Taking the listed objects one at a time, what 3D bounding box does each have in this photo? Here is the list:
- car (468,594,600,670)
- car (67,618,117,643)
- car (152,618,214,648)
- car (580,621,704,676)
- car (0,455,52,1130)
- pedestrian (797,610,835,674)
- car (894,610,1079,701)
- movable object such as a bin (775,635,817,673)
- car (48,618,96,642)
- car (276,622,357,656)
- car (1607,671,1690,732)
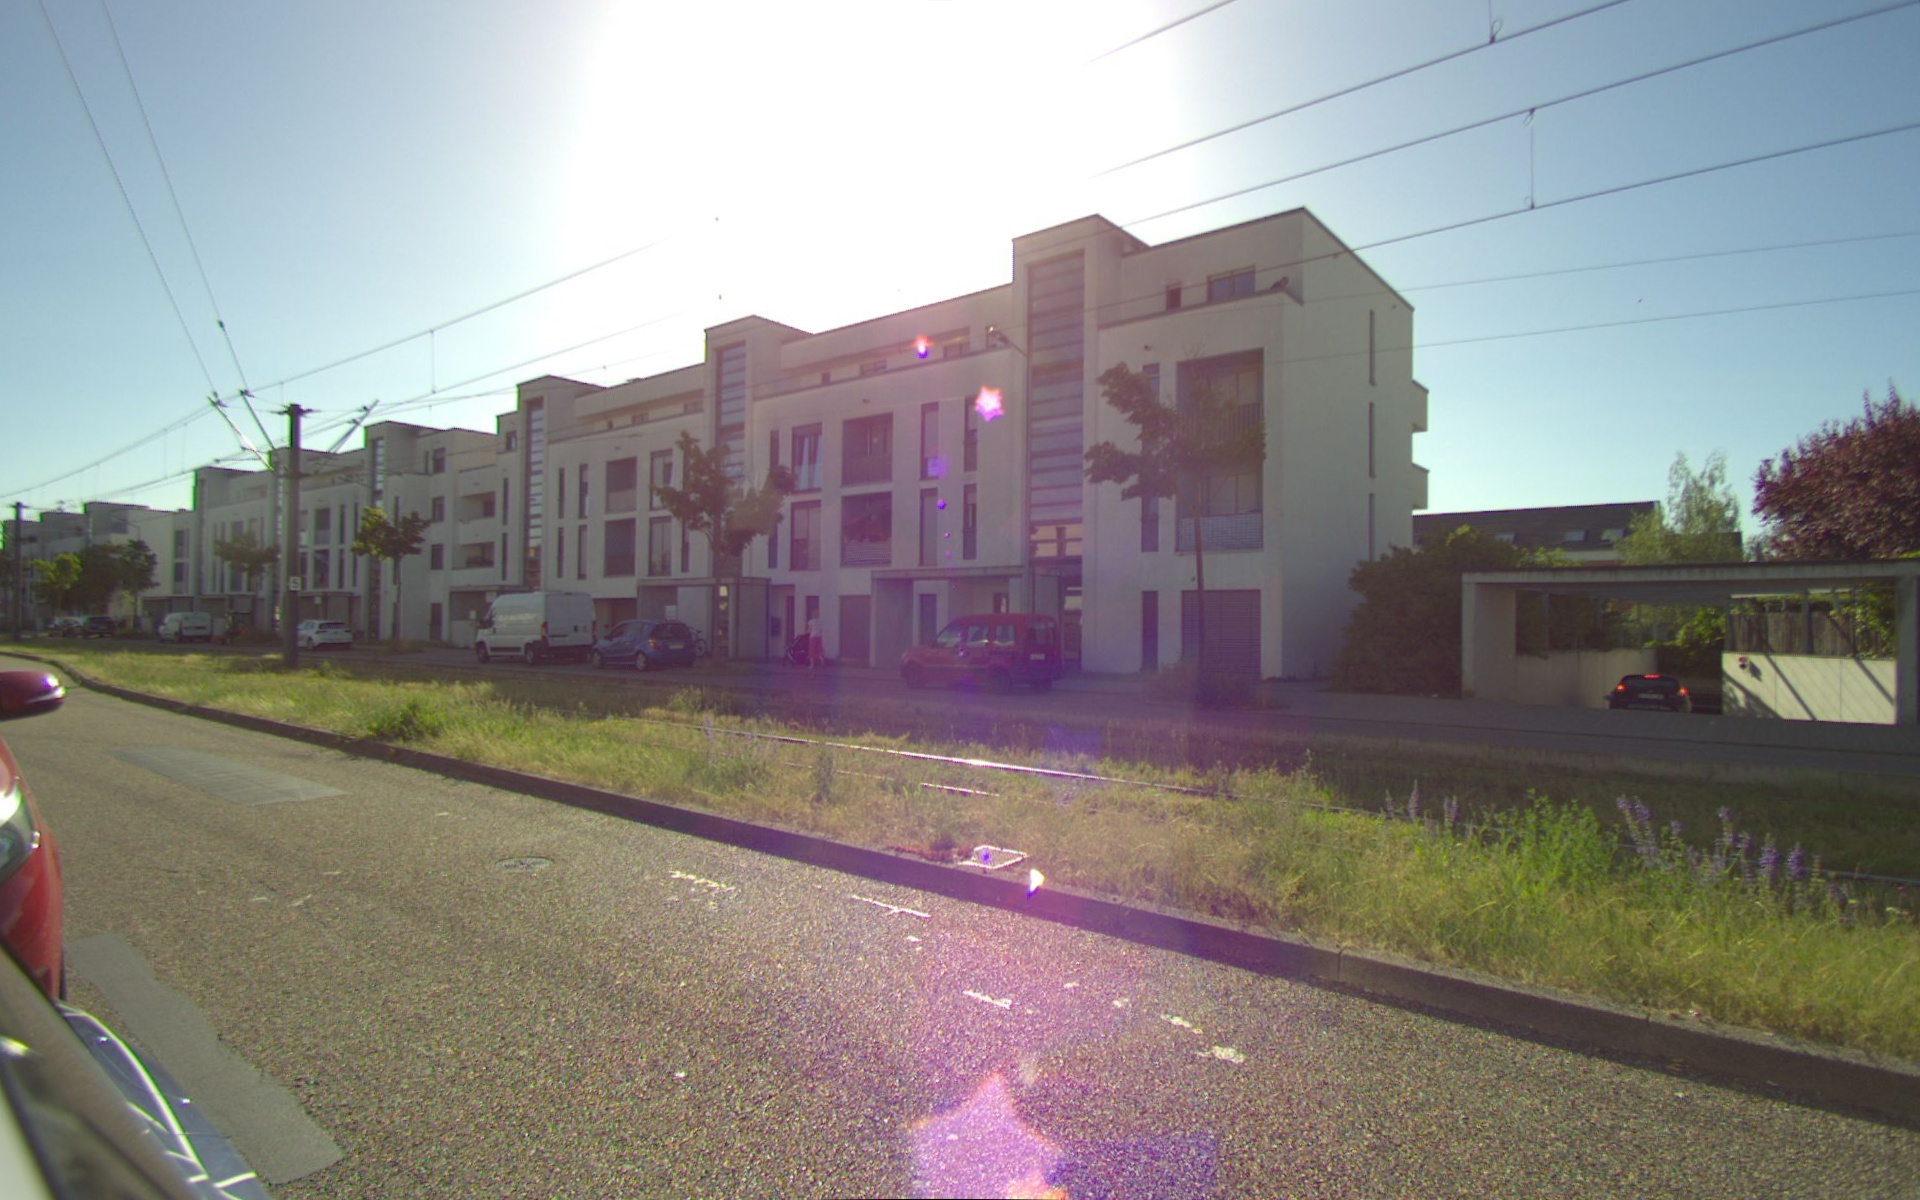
[{"bbox_3d":[-15.188,1.084,35.942,5.193,2.491,2.197,-1,0,40],"label":"car"},{"bbox_3d":[-62.969,2.173,73.404,4.277,1.693,1.900,-1,0,37],"label":"car"},{"bbox_3d":[-47.347,1.970,61.623,4.277,1.693,1.900,-1,0,37],"label":"car"},{"bbox_3d":[-9.993,1.457,31.737,3.833,1.556,1.973,-1,0,40],"label":"car"},{"bbox_3d":[-4.888,0.560,3.670,4.505,1.868,1.850,-1,0,41],"label":"car"},{"bbox_3d":[-4.276,1.233,30.037,0.785,1.836,0.766,-1,0,41],"label":"pedestrian"},{"bbox_3d":[0.545,1.177,23.016,3.895,1.842,1.972,-1,0,43],"label":"car"},{"bbox_3d":[-4.973,1.626,30.661,1.083,1.062,0.719,-1,0,42],"label":"movable object such as a bin"},{"bbox_3d":[-67.513,2.264,76.929,4.277,1.693,1.900,-1,0,37],"label":"car"},{"bbox_3d":[-31.128,1.847,48.897,4.277,1.517,1.900,-1,0,37],"label":"car"},{"bbox_3d":[17.575,2.621,25.765,1.574,1.337,3.950,-1,-7,37],"label":"car"}]
